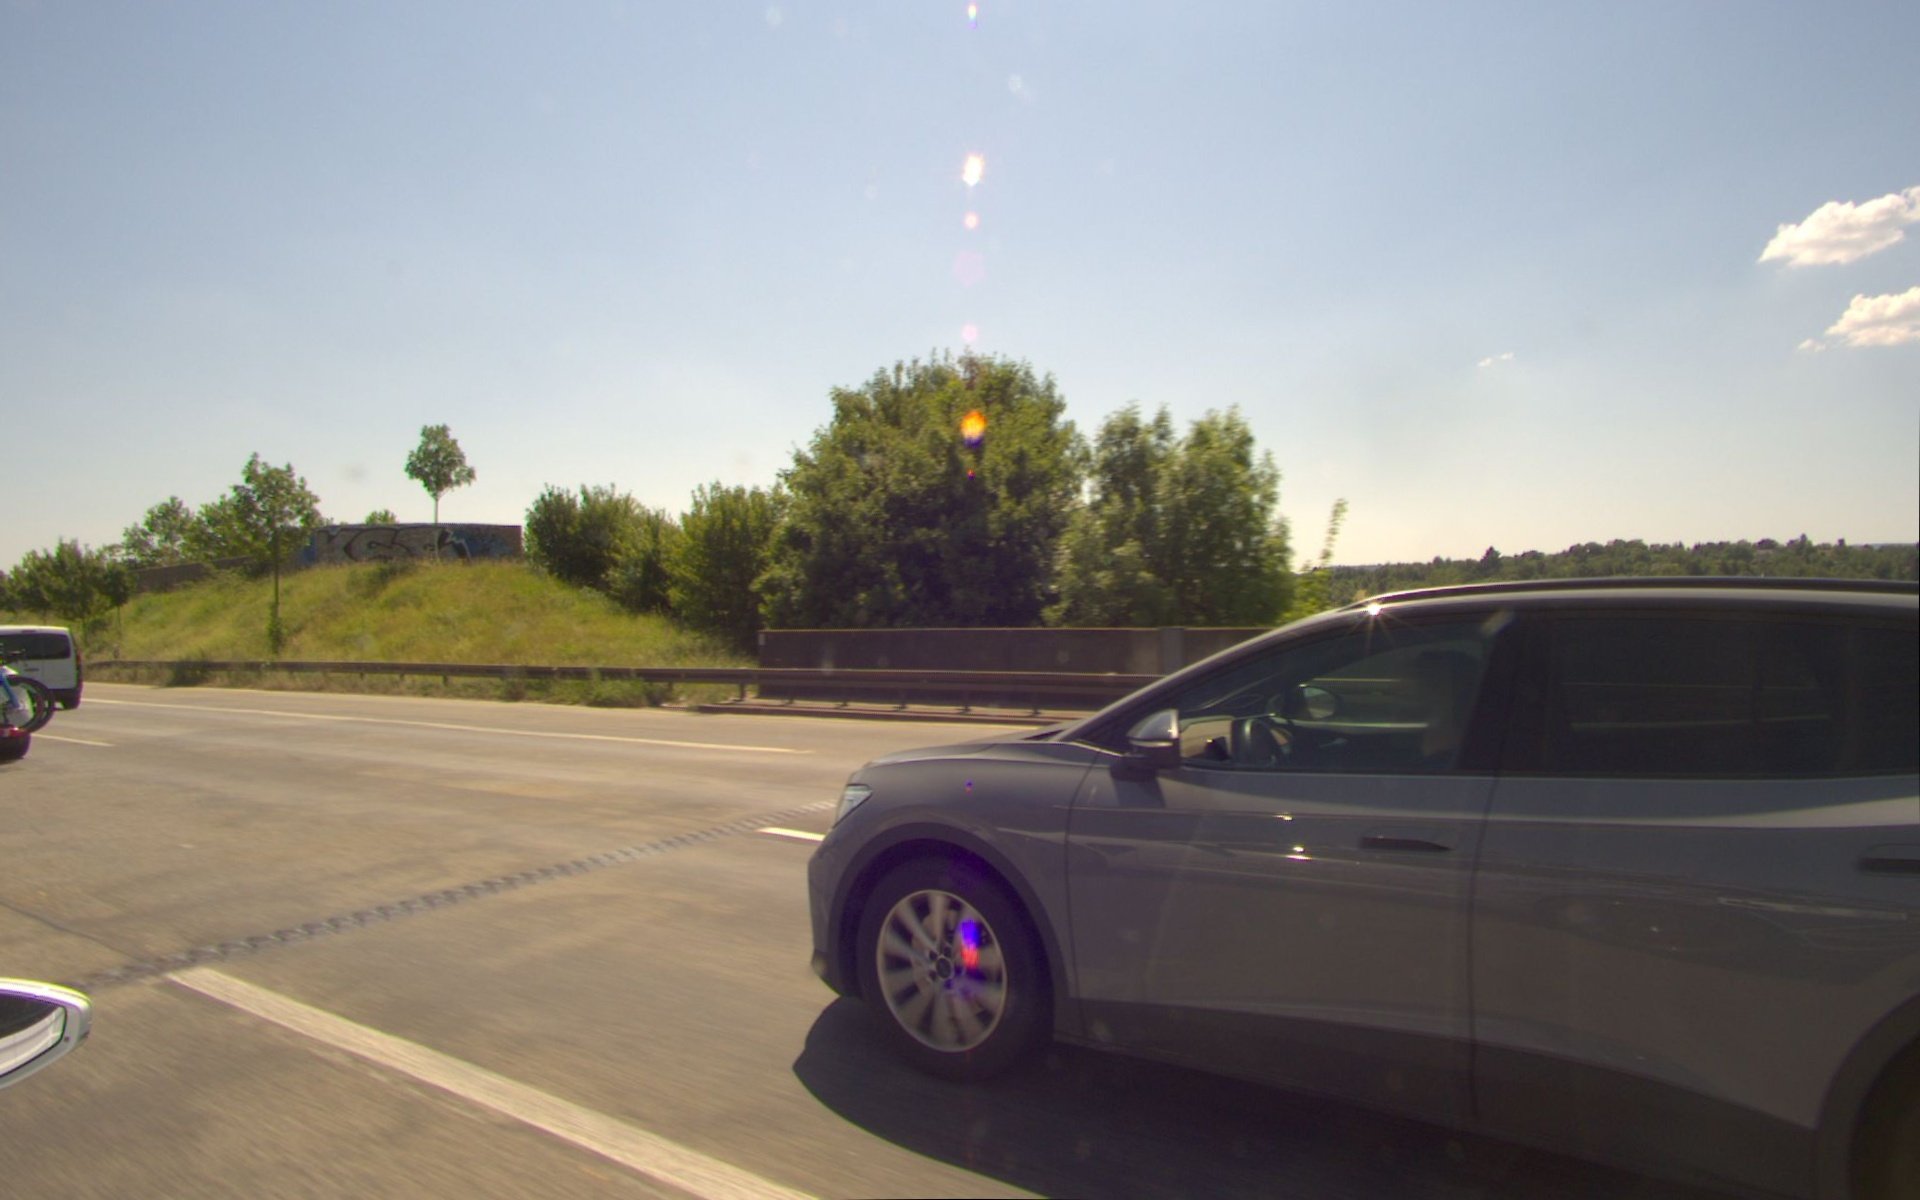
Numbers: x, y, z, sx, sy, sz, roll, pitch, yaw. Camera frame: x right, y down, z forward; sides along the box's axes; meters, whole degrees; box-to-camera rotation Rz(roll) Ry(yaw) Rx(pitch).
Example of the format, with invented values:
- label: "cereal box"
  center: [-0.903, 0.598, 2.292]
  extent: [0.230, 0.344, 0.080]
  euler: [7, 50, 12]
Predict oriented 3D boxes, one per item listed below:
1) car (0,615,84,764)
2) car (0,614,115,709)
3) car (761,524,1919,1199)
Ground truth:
- label: "car"
  center: [-13.140, 1.039, 12.421]
  extent: [5.521, 1.657, 1.947]
  euler: [-1, -2, 32]
- label: "car"
  center: [-20.655, 1.292, 21.968]
  extent: [4.116, 1.862, 1.947]
  euler: [-1, 0, 30]
- label: "car"
  center: [1.668, 0.724, 3.246]
  extent: [4.520, 1.657, 1.865]
  euler: [-1, -2, 32]
